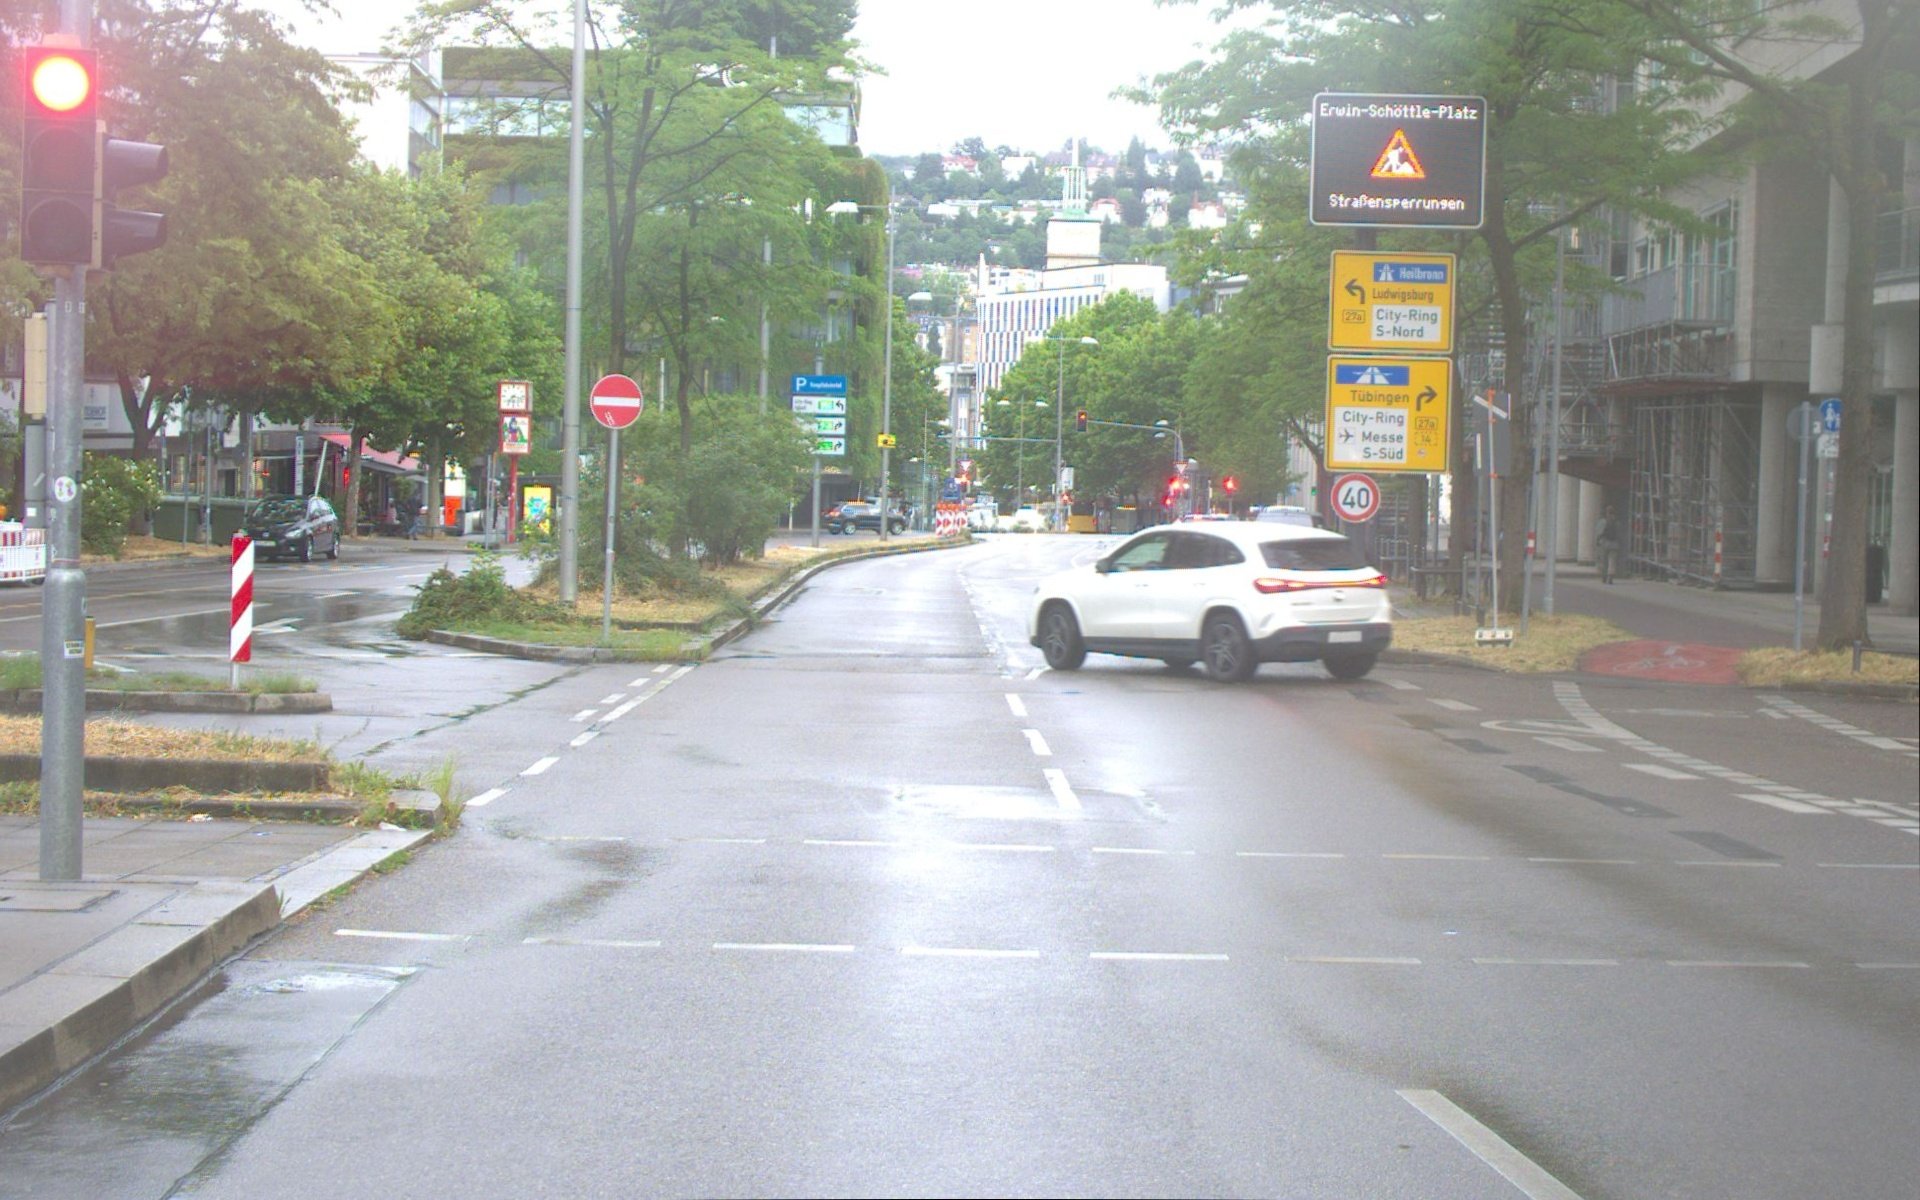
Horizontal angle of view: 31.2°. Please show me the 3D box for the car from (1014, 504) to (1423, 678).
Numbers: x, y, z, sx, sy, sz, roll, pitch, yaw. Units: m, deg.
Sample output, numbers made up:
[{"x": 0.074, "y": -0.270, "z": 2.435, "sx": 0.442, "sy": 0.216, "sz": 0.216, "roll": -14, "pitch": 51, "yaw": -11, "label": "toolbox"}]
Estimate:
[{"x": 2.627, "y": -0.123, "z": 35.887, "sx": 1.829, "sy": 1.634, "sz": 4.300, "roll": 2, "pitch": 1, "yaw": -37, "label": "car"}]

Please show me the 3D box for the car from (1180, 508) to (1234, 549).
[{"x": 10.816, "y": -3.135, "z": 150.864, "sx": 1.993, "sy": 1.718, "sz": 4.000, "roll": 1, "pitch": 0, "yaw": -1, "label": "car"}]

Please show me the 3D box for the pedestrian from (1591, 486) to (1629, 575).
[{"x": 14.193, "y": -1.513, "z": 75.044, "sx": 0.775, "sy": 1.914, "sz": 0.702, "roll": 1, "pitch": 0, "yaw": 10, "label": "pedestrian"}]

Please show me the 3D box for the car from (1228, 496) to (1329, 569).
[{"x": 7.754, "y": -1.649, "z": 83.419, "sx": 2.339, "sy": 1.685, "sz": 3.999, "roll": 1, "pitch": 2, "yaw": 6, "label": "car"}]

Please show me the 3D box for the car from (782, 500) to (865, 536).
[{"x": -7.385, "y": -4.434, "z": 186.115, "sx": 3.986, "sy": 1.752, "sz": 2.001, "roll": 2, "pitch": 1, "yaw": -20, "label": "car"}]

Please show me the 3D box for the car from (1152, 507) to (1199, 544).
[{"x": 10.451, "y": -3.600, "z": 166.795, "sx": 1.993, "sy": 1.730, "sz": 4.000, "roll": 1, "pitch": 0, "yaw": -1, "label": "car"}]
